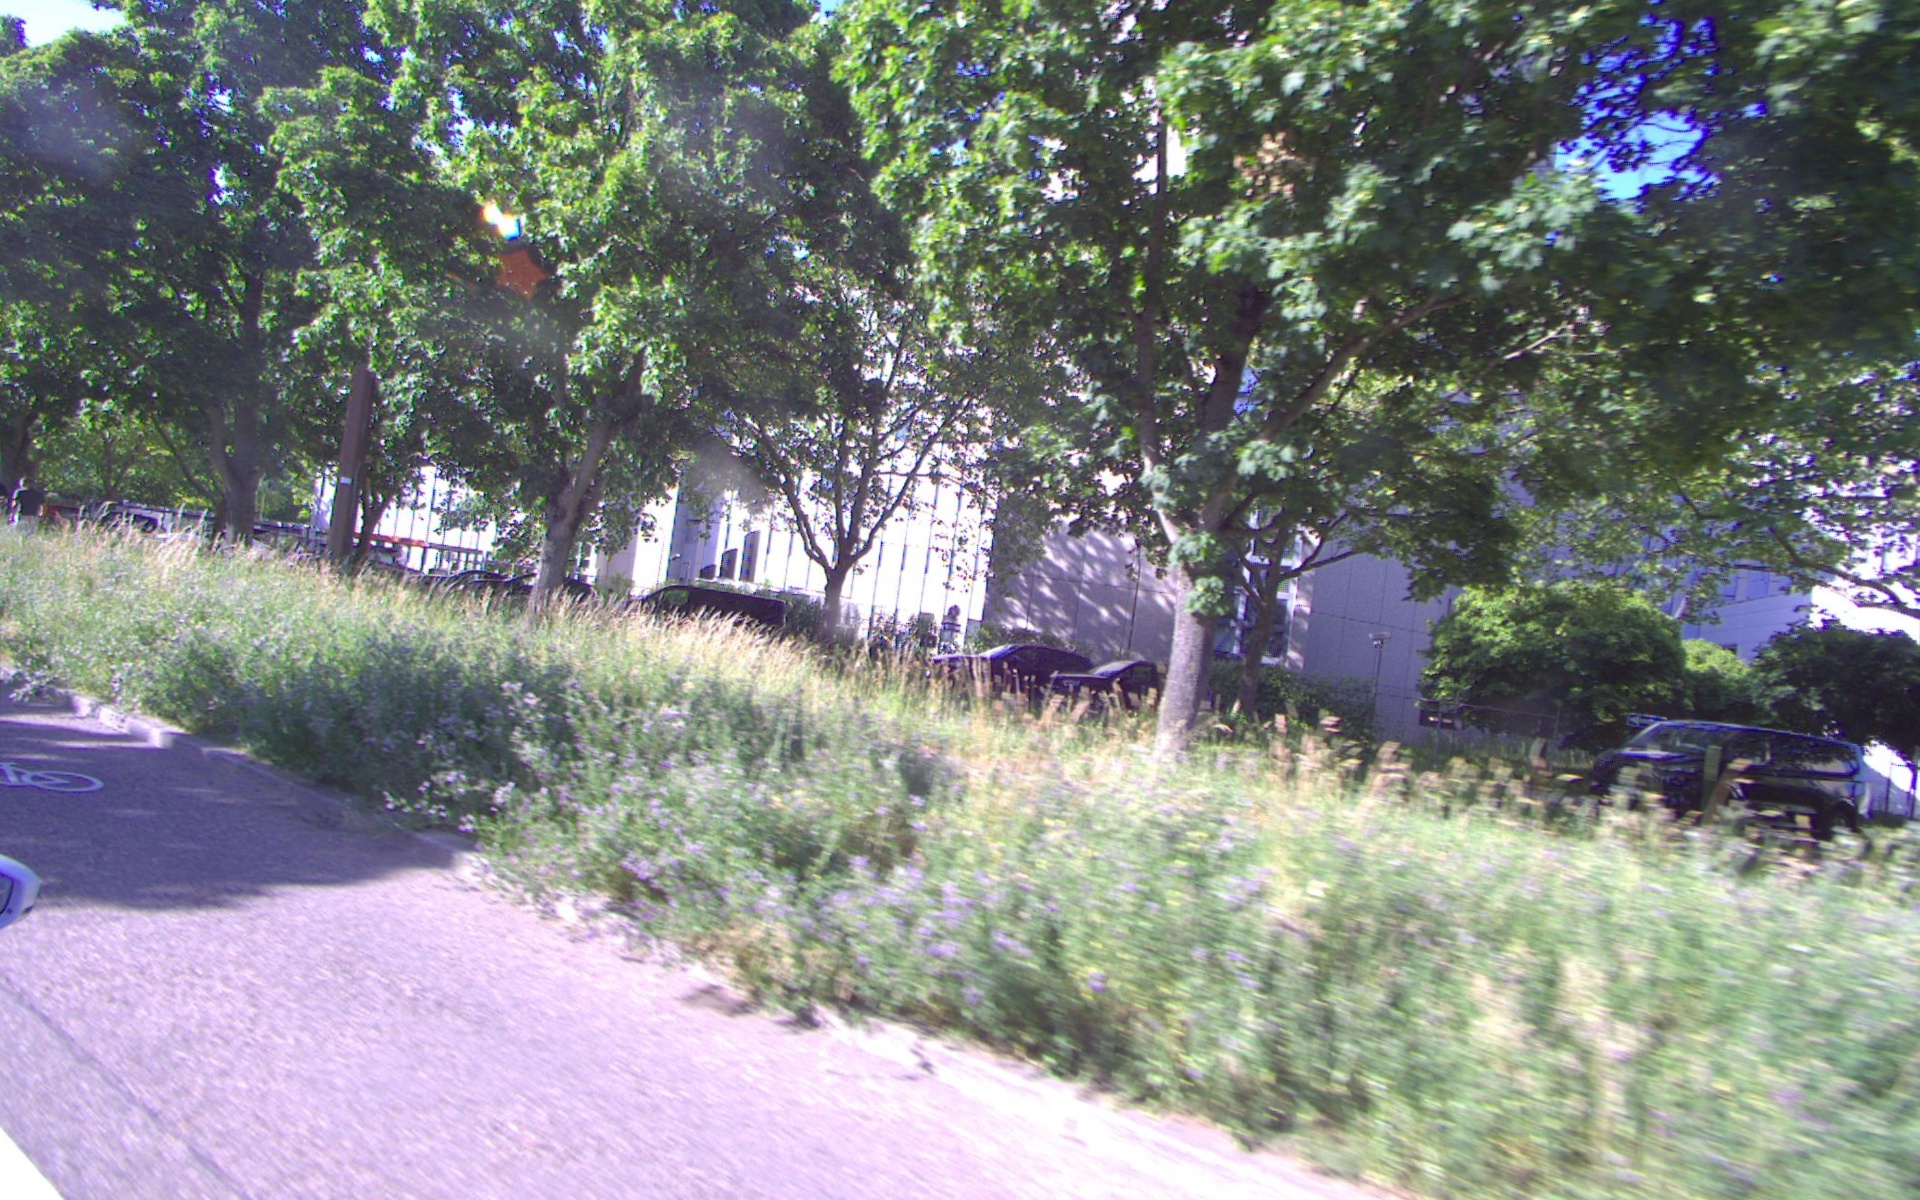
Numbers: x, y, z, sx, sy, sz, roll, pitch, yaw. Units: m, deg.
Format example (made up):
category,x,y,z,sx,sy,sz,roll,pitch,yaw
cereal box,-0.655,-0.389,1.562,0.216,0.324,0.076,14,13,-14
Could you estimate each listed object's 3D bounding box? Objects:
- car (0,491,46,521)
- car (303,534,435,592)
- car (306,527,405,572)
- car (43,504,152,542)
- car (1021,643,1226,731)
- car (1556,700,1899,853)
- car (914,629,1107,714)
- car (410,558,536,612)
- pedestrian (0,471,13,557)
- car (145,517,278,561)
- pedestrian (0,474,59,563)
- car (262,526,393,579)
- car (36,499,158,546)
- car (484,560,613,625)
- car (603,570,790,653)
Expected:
category,x,y,z,sx,sy,sz,roll,pitch,yaw
car,-59.166,-5.978,61.706,1.795,1.448,4.173,7,-3,33
car,-23.944,-1.451,40.952,1.733,1.720,4.350,7,-1,21
car,-37.460,-3.092,62.477,1.940,1.973,4.760,8,-1,30
car,-48.791,-4.356,56.982,1.909,1.340,4.297,8,-1,35
car,3.954,2.108,24.293,4.493,1.464,1.838,9,-2,-24
car,13.790,3.152,18.159,5.107,1.897,2.075,9,-2,-14
car,1.299,1.836,25.807,4.493,1.532,1.838,9,-2,-24
car,-17.969,-0.523,37.327,3.936,1.356,1.701,9,-2,-22
pedestrian,-22.309,-2.023,22.907,0.803,1.939,0.709,7,-1,32
car,-35.540,-2.857,47.894,1.776,1.286,4.709,8,-1,28
pedestrian,-21.945,-1.913,23.667,0.803,1.952,0.709,7,-1,32
car,-25.993,-1.899,41.510,1.733,1.554,4.246,7,-1,21
car,-45.391,-4.062,53.002,1.851,1.615,4.405,7,-2,27
car,-14.472,-0.256,35.550,3.935,1.657,1.716,9,-2,-21
car,-8.205,0.396,31.704,5.369,1.771,1.916,9,-2,-12
